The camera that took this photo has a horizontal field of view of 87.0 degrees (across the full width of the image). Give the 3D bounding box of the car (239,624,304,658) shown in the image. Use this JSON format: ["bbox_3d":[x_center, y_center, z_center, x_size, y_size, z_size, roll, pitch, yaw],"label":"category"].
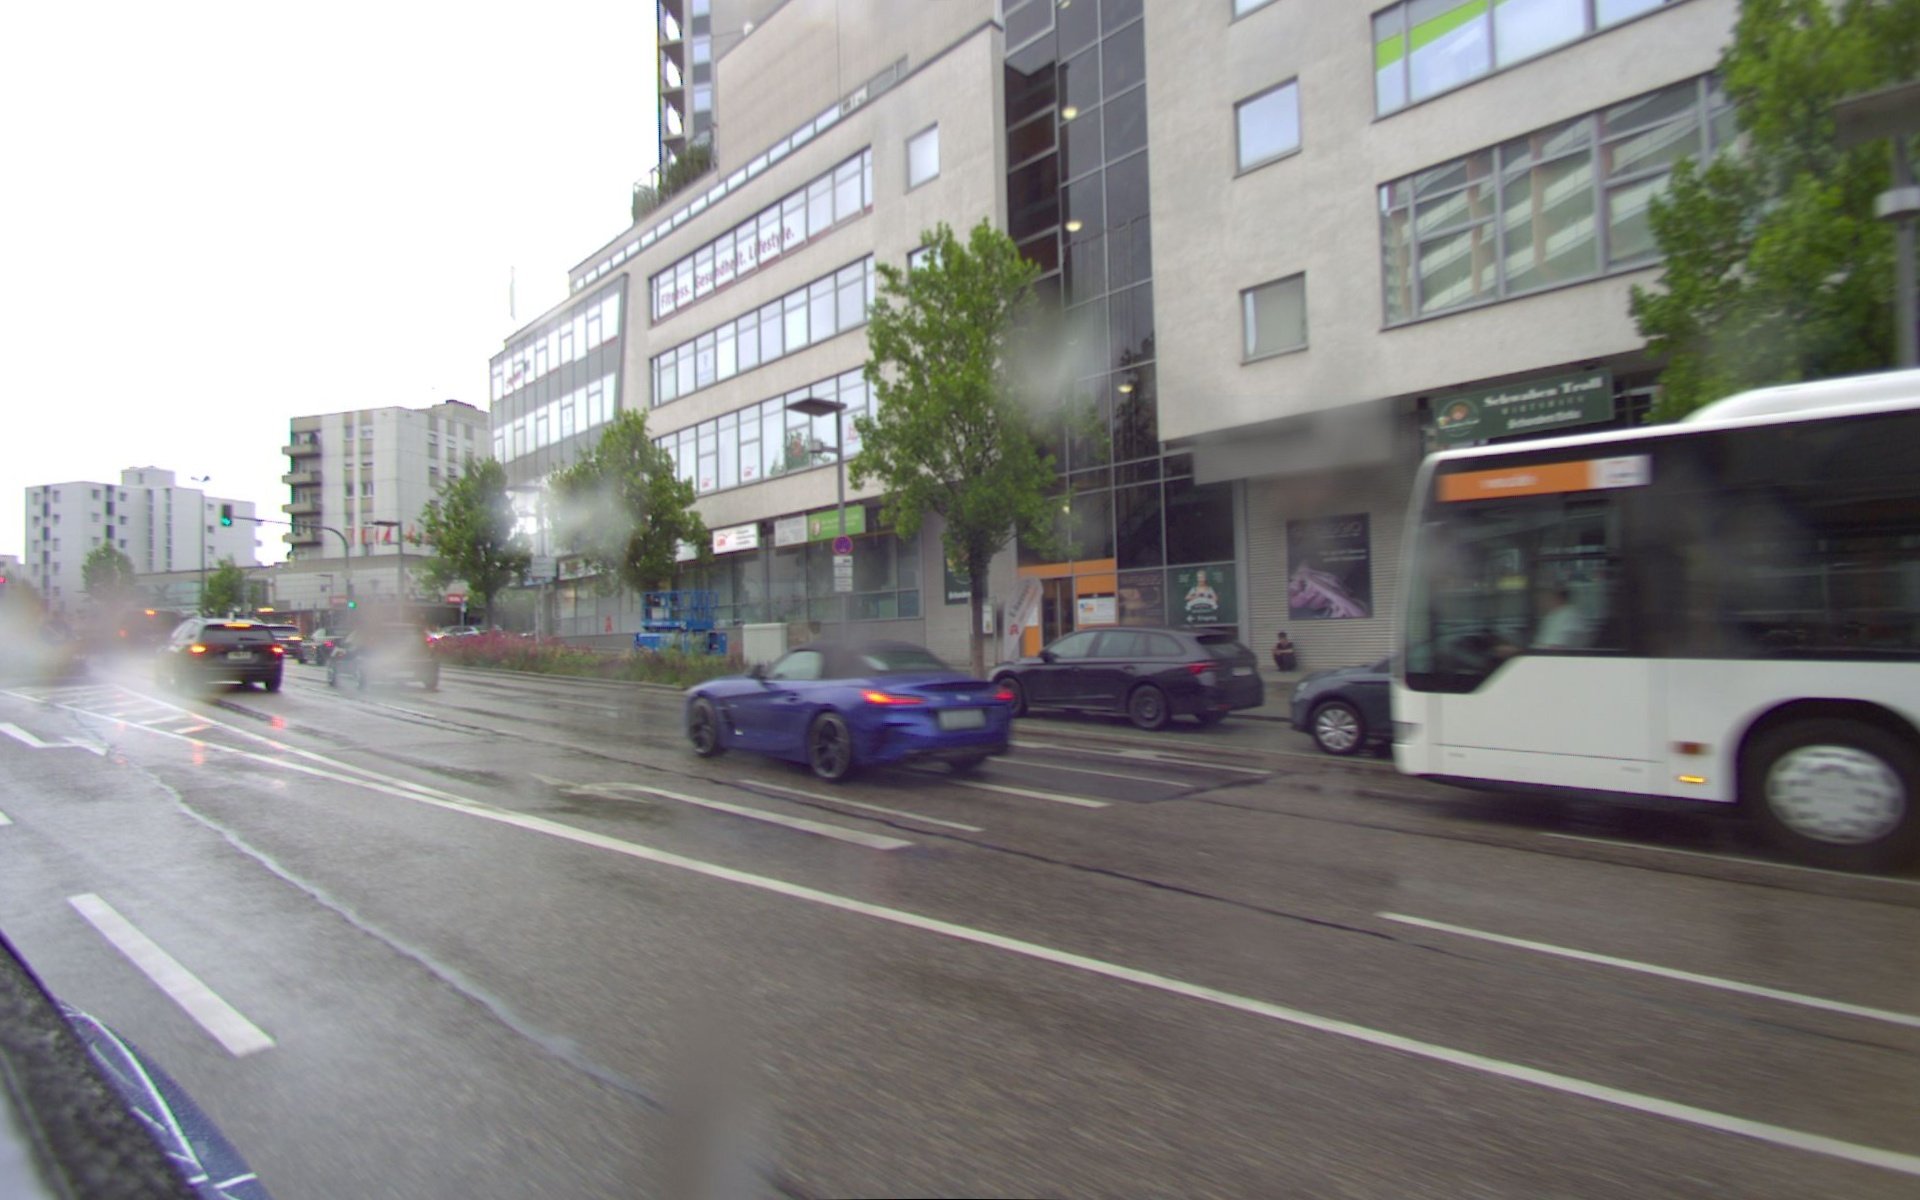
[{"bbox_3d":[-33.179,1.944,48.737,1.893,1.560,4.005,3,-3,-44],"label":"car"}]

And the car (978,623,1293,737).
[{"bbox_3d":[2.508,1.084,15.294,4.477,1.458,1.805,-1,-2,44],"label":"car"}]

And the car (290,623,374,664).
[{"bbox_3d":[-22.712,1.551,36.508,1.612,1.356,4.709,3,-3,-44],"label":"car"}]

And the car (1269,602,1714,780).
[{"bbox_3d":[5.760,0.861,11.263,4.001,1.608,1.971,-1,-2,44],"label":"car"}]

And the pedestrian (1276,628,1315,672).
[{"bbox_3d":[7.661,1.137,23.136,0.519,0.983,0.688,2,-2,-44],"label":"pedestrian"}]

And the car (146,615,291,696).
[{"bbox_3d":[-15.682,1.086,21.320,4.392,1.528,1.688,-1,-2,44],"label":"car"}]

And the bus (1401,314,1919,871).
[{"bbox_3d":[8.567,-0.057,4.429,2.858,3.123,12.008,2,-2,-44],"label":"bus"}]

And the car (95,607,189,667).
[{"bbox_3d":[-26.535,1.190,32.798,4.001,1.804,1.842,-1,-3,44],"label":"car"}]

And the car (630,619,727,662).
[{"bbox_3d":[-9.899,1.383,35.477,1.732,1.421,3.733,2,-2,-43],"label":"car"}]

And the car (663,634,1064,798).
[{"bbox_3d":[-1.149,1.013,10.380,1.875,1.266,4.196,2,-2,-45],"label":"car"}]

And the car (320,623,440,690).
[{"bbox_3d":[-13.126,1.235,22.834,1.547,1.386,3.284,3,-3,-44],"label":"car"}]

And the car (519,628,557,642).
[{"bbox_3d":[-38.200,3.180,91.582,1.437,1.202,3.047,0,-1,23],"label":"car"}]
